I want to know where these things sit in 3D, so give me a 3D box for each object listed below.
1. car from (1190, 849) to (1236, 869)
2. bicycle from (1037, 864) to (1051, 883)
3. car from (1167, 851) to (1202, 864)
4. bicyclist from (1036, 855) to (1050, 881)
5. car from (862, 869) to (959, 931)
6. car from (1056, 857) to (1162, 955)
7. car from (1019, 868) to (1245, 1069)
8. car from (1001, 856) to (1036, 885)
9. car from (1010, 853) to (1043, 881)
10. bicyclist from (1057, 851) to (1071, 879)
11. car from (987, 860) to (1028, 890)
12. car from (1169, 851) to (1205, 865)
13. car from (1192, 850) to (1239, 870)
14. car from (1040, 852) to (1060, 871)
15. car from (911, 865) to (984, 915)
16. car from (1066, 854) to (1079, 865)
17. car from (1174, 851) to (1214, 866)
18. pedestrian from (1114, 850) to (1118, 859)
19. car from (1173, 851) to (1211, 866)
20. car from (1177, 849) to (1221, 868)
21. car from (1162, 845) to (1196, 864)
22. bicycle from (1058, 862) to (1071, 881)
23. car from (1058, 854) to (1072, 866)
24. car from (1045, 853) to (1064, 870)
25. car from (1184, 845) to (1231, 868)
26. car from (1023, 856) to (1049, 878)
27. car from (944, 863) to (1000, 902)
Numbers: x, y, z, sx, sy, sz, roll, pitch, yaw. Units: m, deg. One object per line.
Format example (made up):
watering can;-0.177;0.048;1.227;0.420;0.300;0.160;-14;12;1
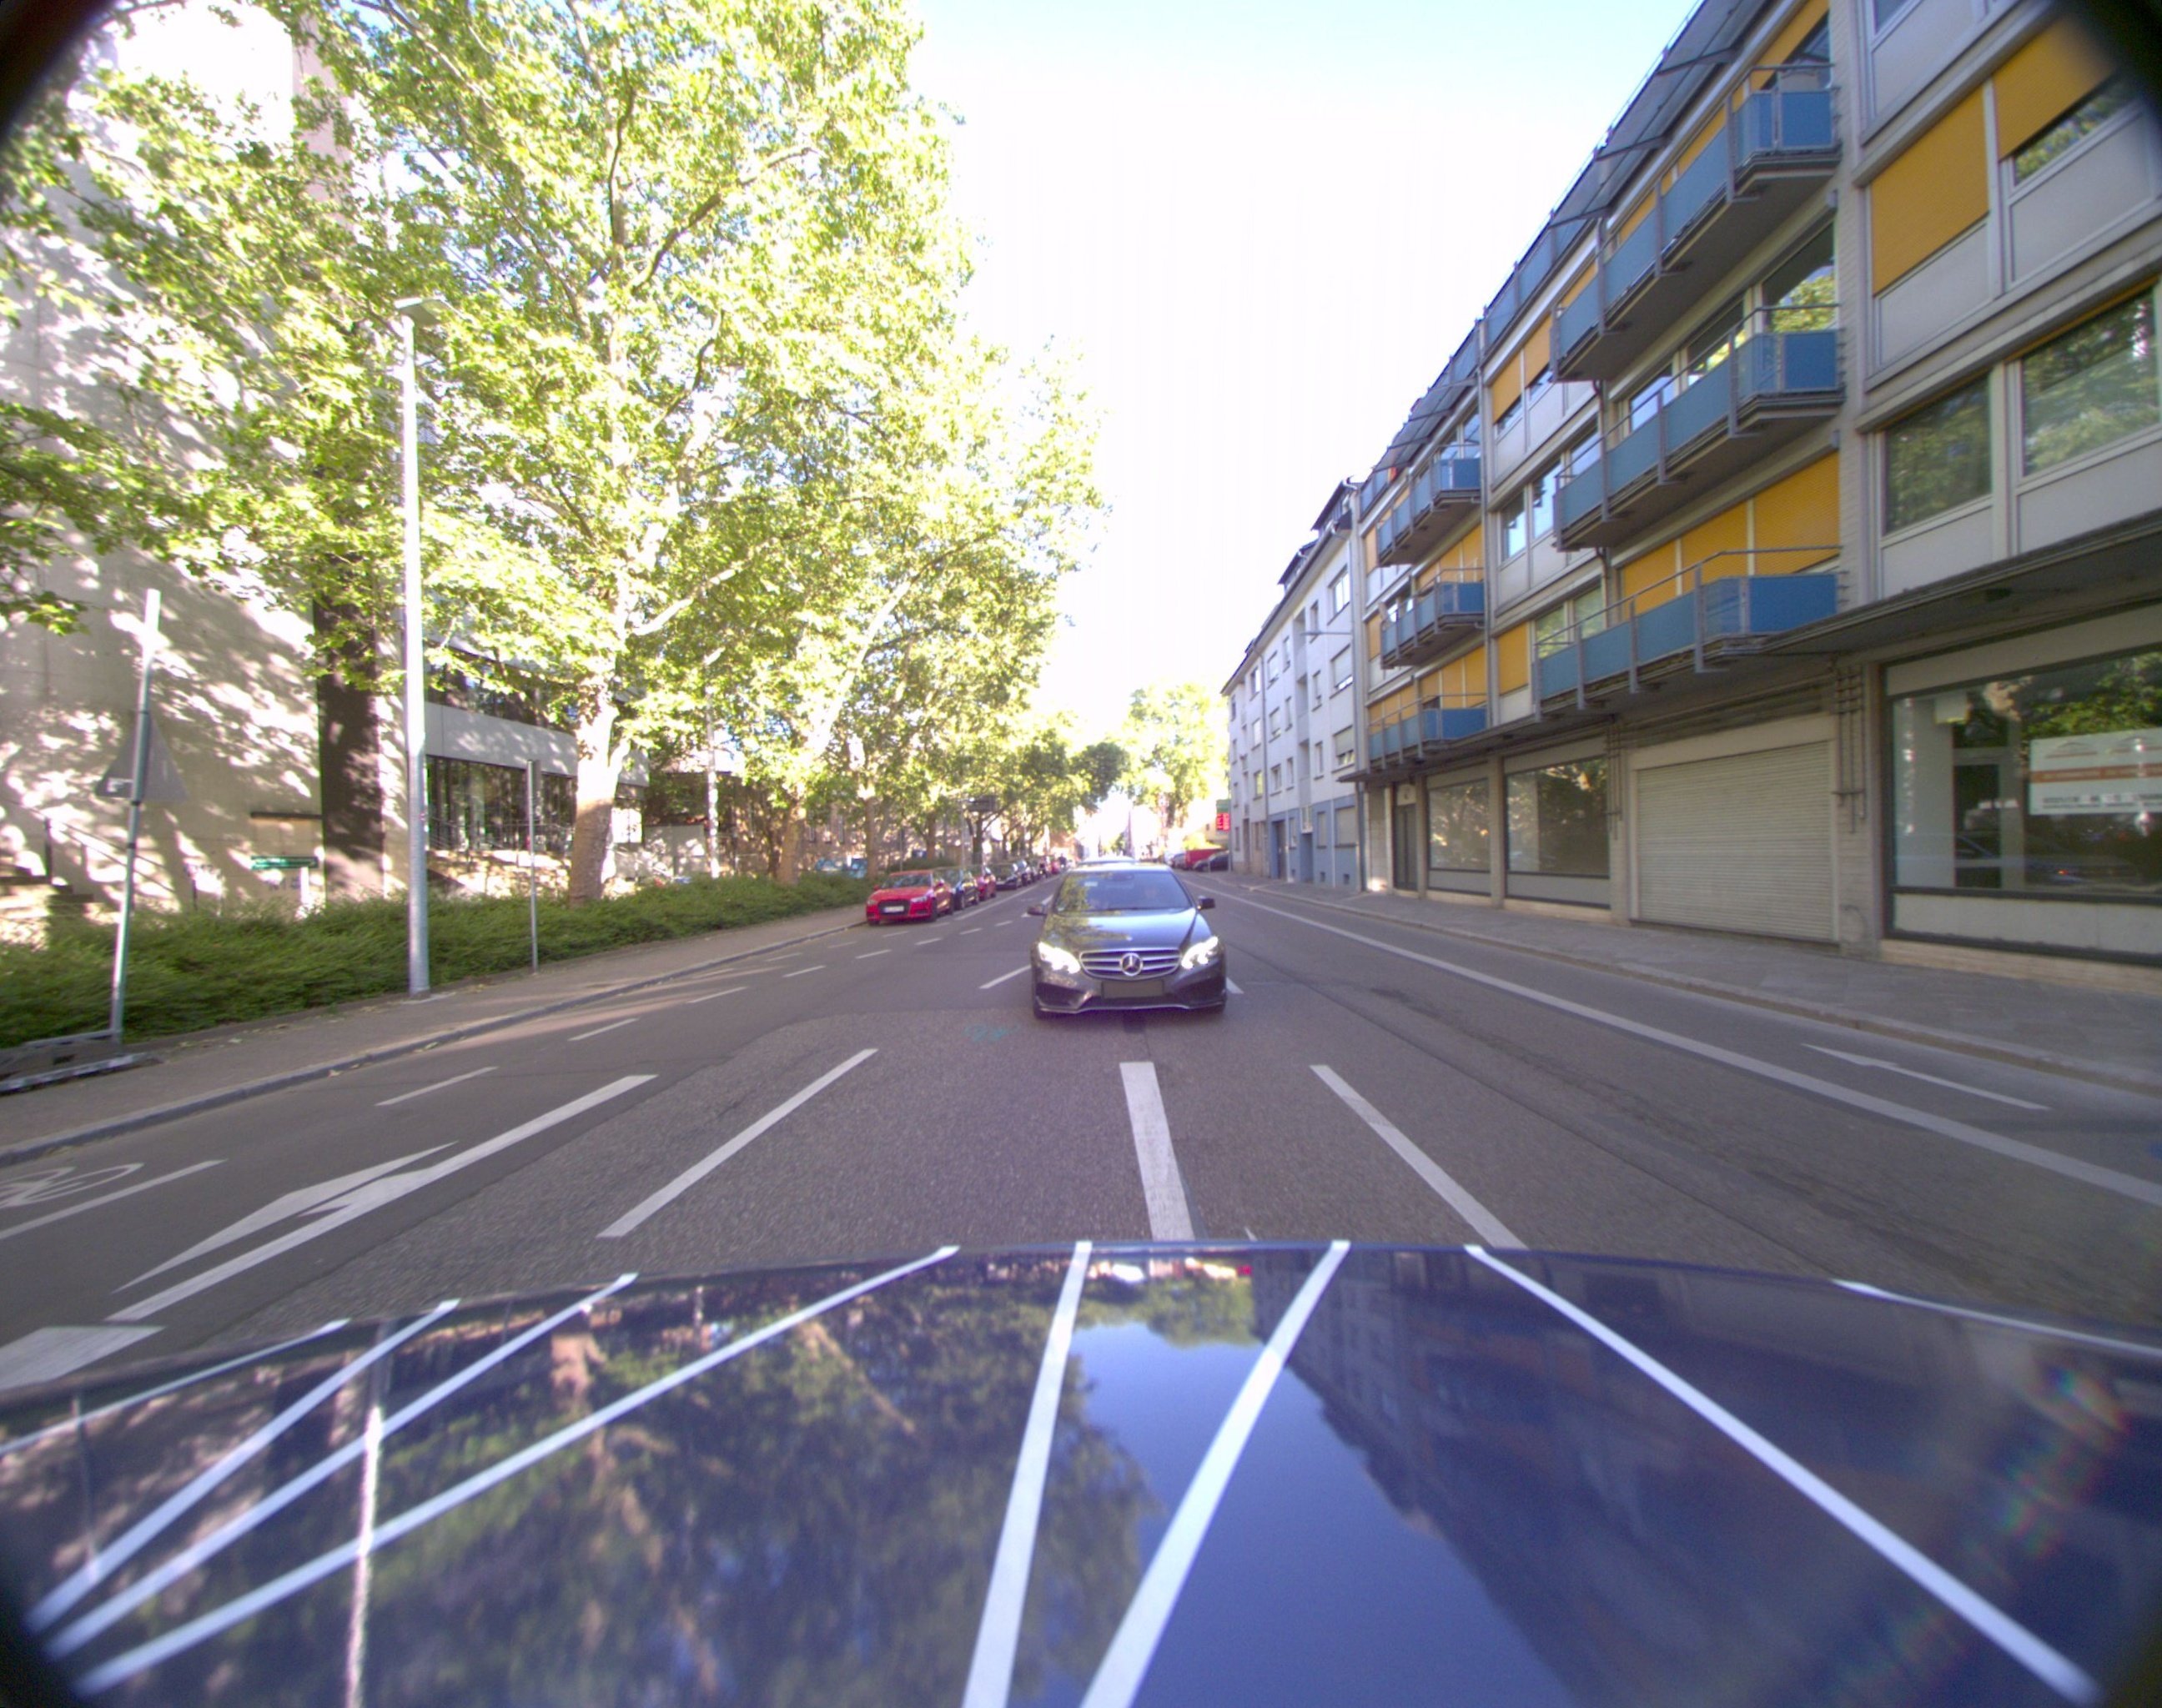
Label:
car;11.235;0.389;64.835;3.667;1.501;1.602;-2;1;3
bicycle;-2.246;1.159;45.966;0.667;1.093;1.814;-2;1;1
car;12.038;0.399;88.508;3.782;1.432;1.539;-2;1;3
bicyclist;-2.277;0.831;45.884;0.756;1.512;0.768;-2;1;0
car;-4.735;1.229;21.613;1.724;1.412;4.031;-4;0;0
car;0.494;0.890;15.046;1.732;1.538;4.294;-2;1;1
car;0.452;1.001;8.514;1.828;1.495;4.294;-2;1;1
car;-3.740;0.982;46.006;1.686;1.610;3.837;-2;0;1
car;-3.696;0.856;52.133;1.819;1.758;4.431;-2;0;1
bicyclist;-1.028;0.662;46.688;0.756;1.714;0.768;-2;1;0
car;-3.944;1.115;41.349;1.686;1.442;4.000;-2;0;1
car;11.982;0.462;85.823;3.905;1.325;1.525;-2;1;3
car;11.027;0.486;62.433;3.598;1.401;1.535;-2;0;3
car;-2.991;0.705;74.164;1.645;1.839;3.837;-2;0;1
car;-4.538;1.175;26.370;1.686;1.458;4.000;-3;0;1
car;-1.263;0.816;110.746;1.686;1.475;3.837;-2;0;1
car;11.708;0.504;78.661;3.905;1.366;1.595;-2;1;3
pedestrian;8.955;0.139;192.814;0.884;2.108;0.821;-2;1;2
car;11.772;0.483;80.682;3.905;1.366;1.595;-2;1;3
car;10.915;0.373;70.481;3.905;1.577;1.604;-2;1;3
car;11.971;0.098;93.003;3.905;2.164;1.725;-2;1;3
bicycle;-1.004;1.083;46.707;0.667;1.093;1.814;-2;1;1
car;-2.109;0.750;99.615;1.686;1.546;3.837;-2;0;1
car;-2.741;0.759;79.952;1.686;1.749;3.837;-2;0;1
car;11.227;0.202;67.681;3.905;1.895;1.749;-2;0;3
car;-3.423;0.968;58.453;1.686;1.552;3.868;-2;0;1
car;-4.449;1.148;31.555;1.666;1.426;3.781;-2;0;1
